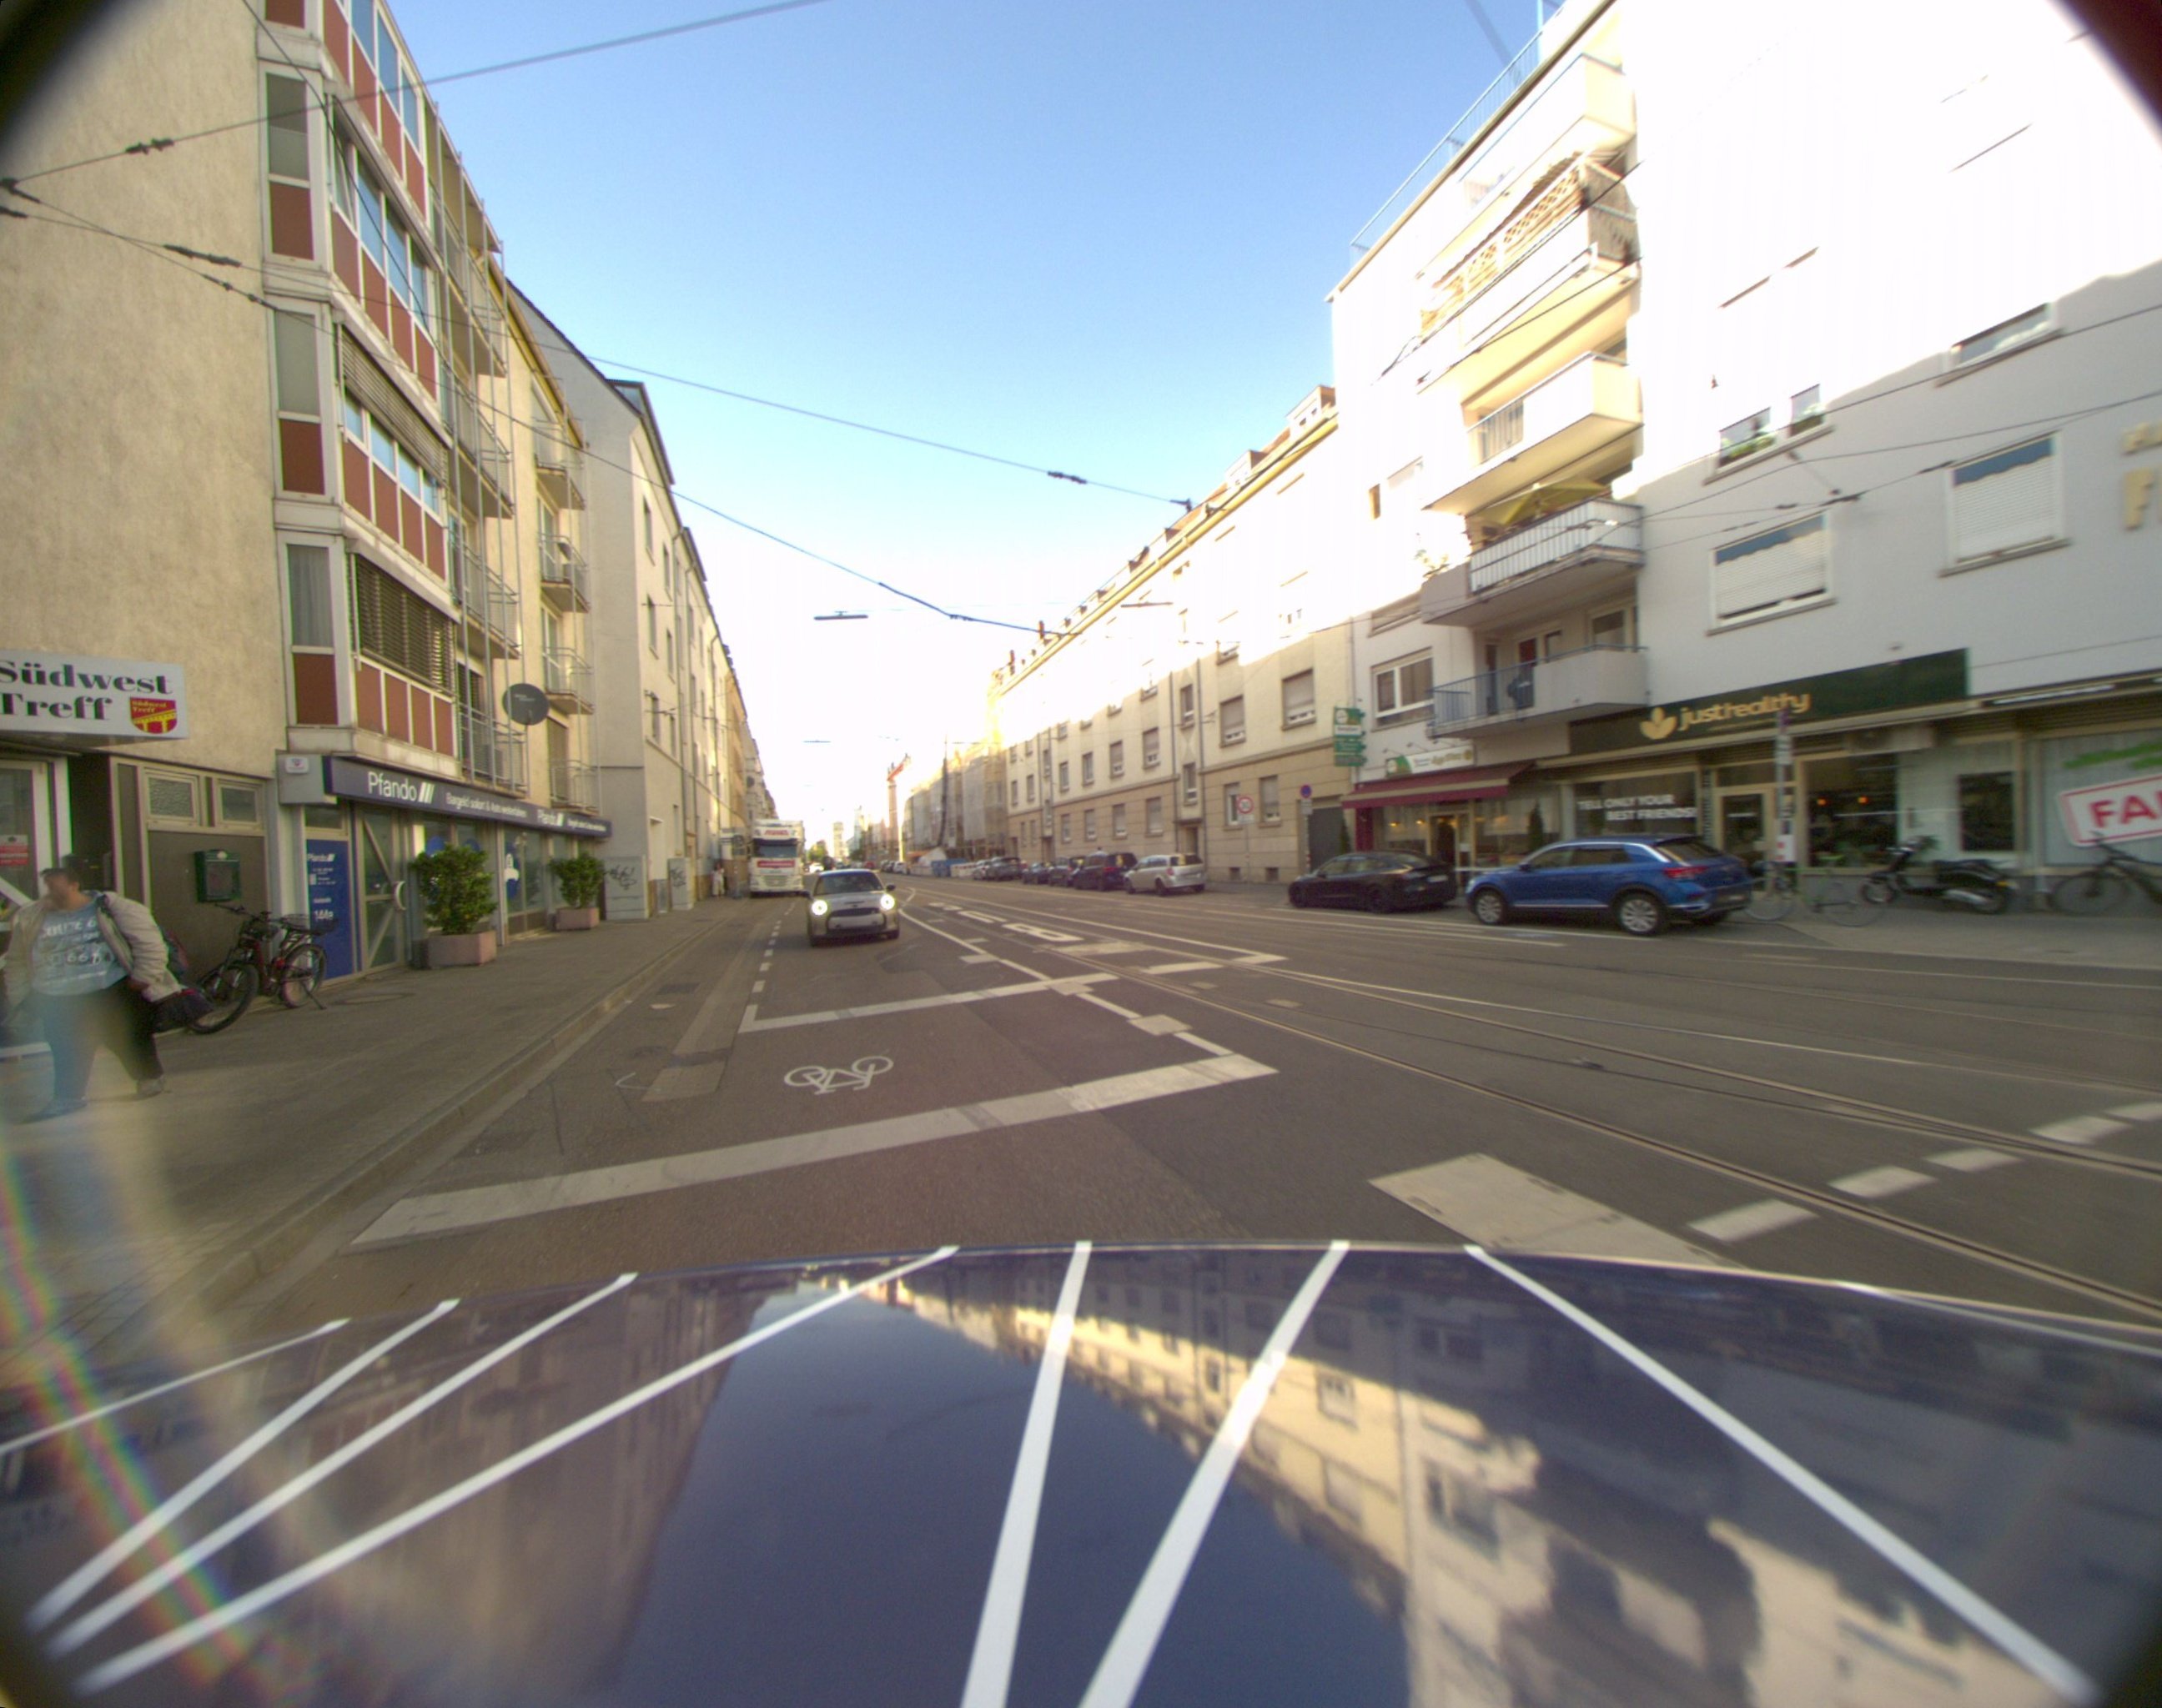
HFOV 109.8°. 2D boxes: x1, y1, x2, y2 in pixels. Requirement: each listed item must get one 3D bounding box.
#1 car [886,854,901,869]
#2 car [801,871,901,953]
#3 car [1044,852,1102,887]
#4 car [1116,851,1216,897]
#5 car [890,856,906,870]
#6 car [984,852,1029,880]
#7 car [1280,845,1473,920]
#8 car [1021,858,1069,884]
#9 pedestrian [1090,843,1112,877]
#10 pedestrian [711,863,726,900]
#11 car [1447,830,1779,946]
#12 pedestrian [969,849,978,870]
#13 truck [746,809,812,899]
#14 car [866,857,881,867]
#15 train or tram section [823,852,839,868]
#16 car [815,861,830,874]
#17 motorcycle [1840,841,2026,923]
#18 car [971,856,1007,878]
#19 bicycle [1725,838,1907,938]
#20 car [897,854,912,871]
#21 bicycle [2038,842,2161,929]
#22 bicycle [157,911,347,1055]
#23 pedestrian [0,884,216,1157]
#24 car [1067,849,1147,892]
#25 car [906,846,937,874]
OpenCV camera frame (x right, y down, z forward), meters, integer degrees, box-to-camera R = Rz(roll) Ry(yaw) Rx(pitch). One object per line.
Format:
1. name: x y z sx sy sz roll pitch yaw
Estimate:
1. car: -26.775 1.077 108.587 1.572 1.945 4.177 -5 2 -19
2. car: -4.883 1.102 16.025 1.730 1.416 3.811 -3 0 -18
3. car: -0.443 0.736 37.908 1.646 1.550 3.589 -5 2 -20
4. car: 3.065 0.697 28.316 1.732 1.446 4.363 -6 2 -22
5. car: -24.726 1.205 102.356 1.572 1.674 3.930 -5 2 -19
6. car: -4.953 0.778 49.965 1.754 1.600 4.151 -6 2 -22
7. car: 6.890 0.595 18.288 1.776 1.466 4.437 -5 2 -20
8. car: -2.055 0.907 42.232 1.478 1.213 3.517 -5 2 -22
9. pedestrian: 1.078 0.327 40.627 0.665 1.758 1.004 -5 2 -27
10. pedestrian: -16.011 1.200 33.586 0.476 1.620 0.466 -2 1 -18
11. car: 8.624 0.508 12.818 1.776 1.495 4.230 -5 1 -22
12. pedestrian: -9.747 0.484 68.839 0.520 1.861 0.761 -5 2 -20
13. truck: -16.404 -0.071 41.972 2.704 4.214 11.756 -3 1 -19
14. car: -38.822 1.457 142.088 2.234 1.518 4.951 -5 2 -19
15. train or tram section: -61.148 1.414 185.732 2.871 3.542 13.019 -3 1 -21
16. car: -41.956 2.211 123.229 2.002 1.871 4.263 -5 2 -22
17. motorcycle: 13.129 0.400 11.786 0.609 1.128 1.793 -5 2 -21
18. car: -6.588 0.885 54.088 1.567 1.372 3.501 -6 2 -22
19. bicycle: 10.681 0.458 11.129 0.609 1.307 1.793 -5 2 -21
20. car: -22.441 1.086 96.495 1.660 1.912 3.760 -4 2 -13
21. bicycle: 14.177 0.404 10.035 0.609 1.082 1.793 -5 2 -21
22. bicycle: -8.403 1.240 7.811 0.498 1.155 1.774 -3 1 -20
23. pedestrian: -6.411 0.993 4.869 0.888 1.582 0.809 0 -1 -25
24. car: 1.058 0.664 33.379 1.822 1.624 4.317 -6 2 -22
25. car: -16.785 0.581 79.859 2.218 2.682 5.863 -5 2 -20
